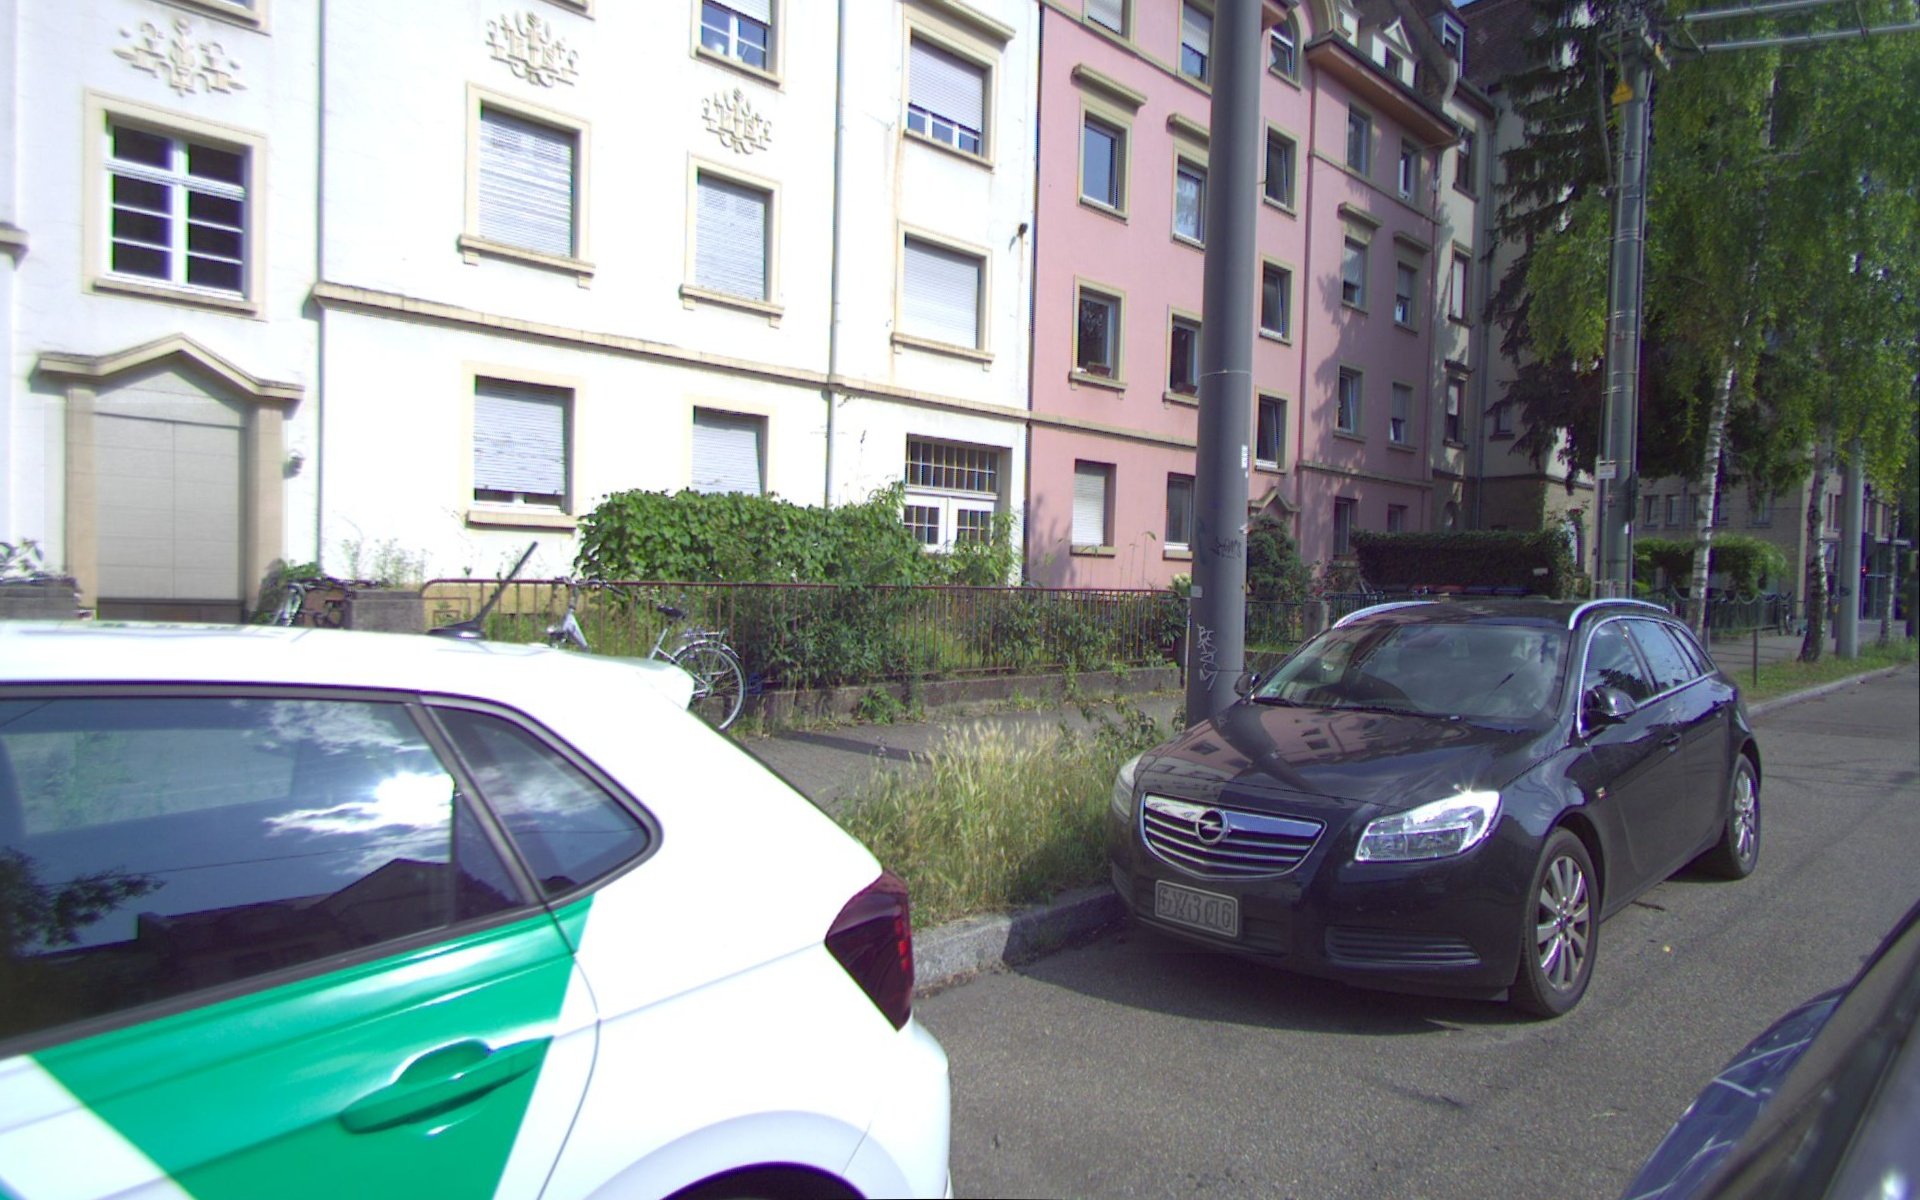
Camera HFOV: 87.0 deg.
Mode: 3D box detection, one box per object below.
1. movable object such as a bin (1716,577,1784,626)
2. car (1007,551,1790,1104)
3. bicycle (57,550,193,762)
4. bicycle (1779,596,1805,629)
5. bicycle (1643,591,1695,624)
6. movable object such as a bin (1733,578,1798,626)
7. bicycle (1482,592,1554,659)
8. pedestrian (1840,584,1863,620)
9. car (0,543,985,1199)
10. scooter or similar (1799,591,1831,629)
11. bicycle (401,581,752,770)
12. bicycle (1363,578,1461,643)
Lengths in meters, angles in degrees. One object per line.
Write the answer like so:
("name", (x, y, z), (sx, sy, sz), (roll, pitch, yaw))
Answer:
("movable object such as a bin", (25.629, 0.028, 32.831), (1.964, 1.510, 1.305), (0, 2, -40))
("car", (2.453, 0.639, 4.978), (4.447, 1.540, 1.795), (0, -1, -41))
("bicycle", (-5.442, 0.285, 6.558), (1.841, 1.197, 0.457), (3, 2, 44))
("bicycle", (26.886, 0.391, 32.704), (1.455, 1.034, 0.350), (0, 5, -41))
("bicycle", (23.497, 0.247, 33.532), (0.445, 1.014, 1.314), (0, 2, -41))
("movable object such as a bin", (27.233, 0.060, 34.204), (1.964, 1.510, 1.305), (0, 2, -40))
("bicycle", (9.432, 0.411, 17.082), (1.746, 1.066, 0.421), (0, 2, -40))
("pedestrian", (46.210, 0.092, 52.470), (0.732, 1.865, 0.797), (2, 1, 35))
("car", (-1.921, 0.689, 0.987), (3.851, 1.471, 1.622), (0, 0, -42))
("scooter or similar", (27.900, 0.313, 33.019), (1.166, 1.193, 0.522), (0, 4, -39))
("bicycle", (-2.480, 0.438, 6.764), (2.143, 1.090, 0.473), (0, 2, -39))
("bicycle", (9.098, 0.188, 20.442), (0.413, 1.235, 1.776), (0, 2, -41))
